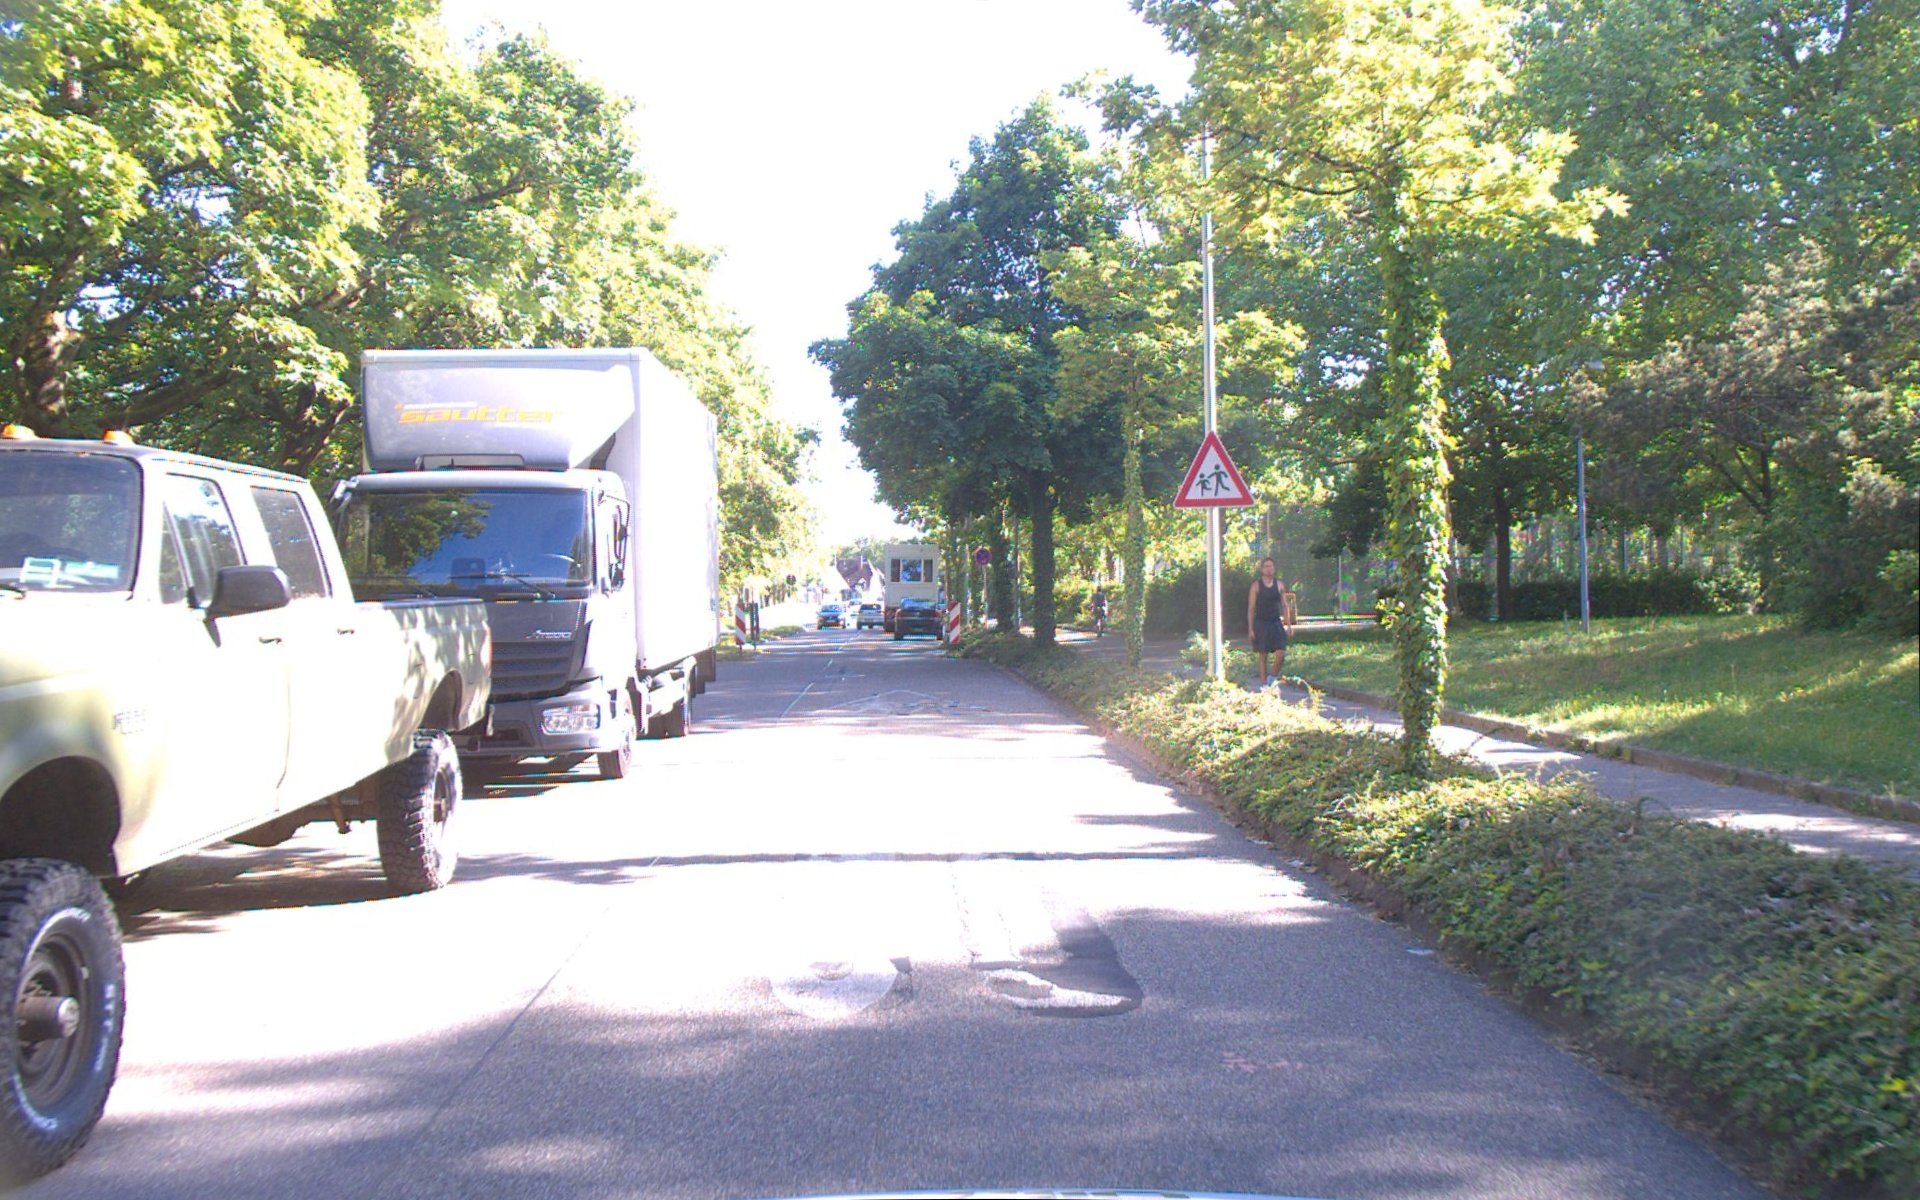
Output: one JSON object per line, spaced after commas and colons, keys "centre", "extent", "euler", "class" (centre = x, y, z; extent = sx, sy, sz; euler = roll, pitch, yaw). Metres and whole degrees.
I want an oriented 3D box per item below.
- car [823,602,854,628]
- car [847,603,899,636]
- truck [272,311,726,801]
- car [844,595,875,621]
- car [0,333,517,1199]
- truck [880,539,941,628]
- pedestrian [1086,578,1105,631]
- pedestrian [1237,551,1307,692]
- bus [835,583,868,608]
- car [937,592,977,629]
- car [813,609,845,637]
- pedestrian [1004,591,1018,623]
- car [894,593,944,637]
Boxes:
{"centre": [-7.589, 0.929, 103.585], "extent": [1.720, 1.479, 4.242], "euler": [-2, 0, -1], "class": "car"}
{"centre": [-4.726, 1.037, 90.372], "extent": [1.951, 1.713, 4.004], "euler": [-1, 0, 11], "class": "car"}
{"centre": [-4.071, -0.354, 16.641], "extent": [2.680, 3.705, 8.095], "euler": [-1, 0, -3], "class": "truck"}
{"centre": [-8.105, 0.644, 133.903], "extent": [1.952, 2.049, 4.002], "euler": [-1, 0, 3], "class": "car"}
{"centre": [-3.522, 0.435, 6.744], "extent": [2.077, 2.132, 6.579], "euler": [-1, 0, -4], "class": "car"}
{"centre": [-2.520, -0.763, 80.925], "extent": [2.718, 4.066, 10.341], "euler": [0, 0, -3], "class": "truck"}
{"centre": [4.244, 0.148, 51.815], "extent": [0.559, 1.636, 0.671], "euler": [-1, 0, 7], "class": "pedestrian"}
{"centre": [4.198, 0.290, 22.306], "extent": [0.775, 1.864, 0.671], "euler": [-1, 0, -3], "class": "pedestrian"}
{"centre": [-15.423, -0.662, 235.475], "extent": [3.982, 3.407, 9.799], "euler": [-2, 0, 0], "class": "bus"}
{"centre": [-0.128, 0.438, 70.290], "extent": [1.606, 1.445, 4.000], "euler": [-3, 0, 0], "class": "car"}
{"centre": [-7.570, 1.313, 95.935], "extent": [1.568, 1.451, 3.651], "euler": [-2, 0, -1], "class": "car"}
{"centre": [3.057, 0.411, 98.732], "extent": [0.684, 1.844, 0.699], "euler": [-2, 0, -6], "class": "pedestrian"}
{"centre": [-1.427, 0.543, 58.883], "extent": [1.713, 1.506, 4.029], "euler": [0, -1, -1], "class": "car"}
